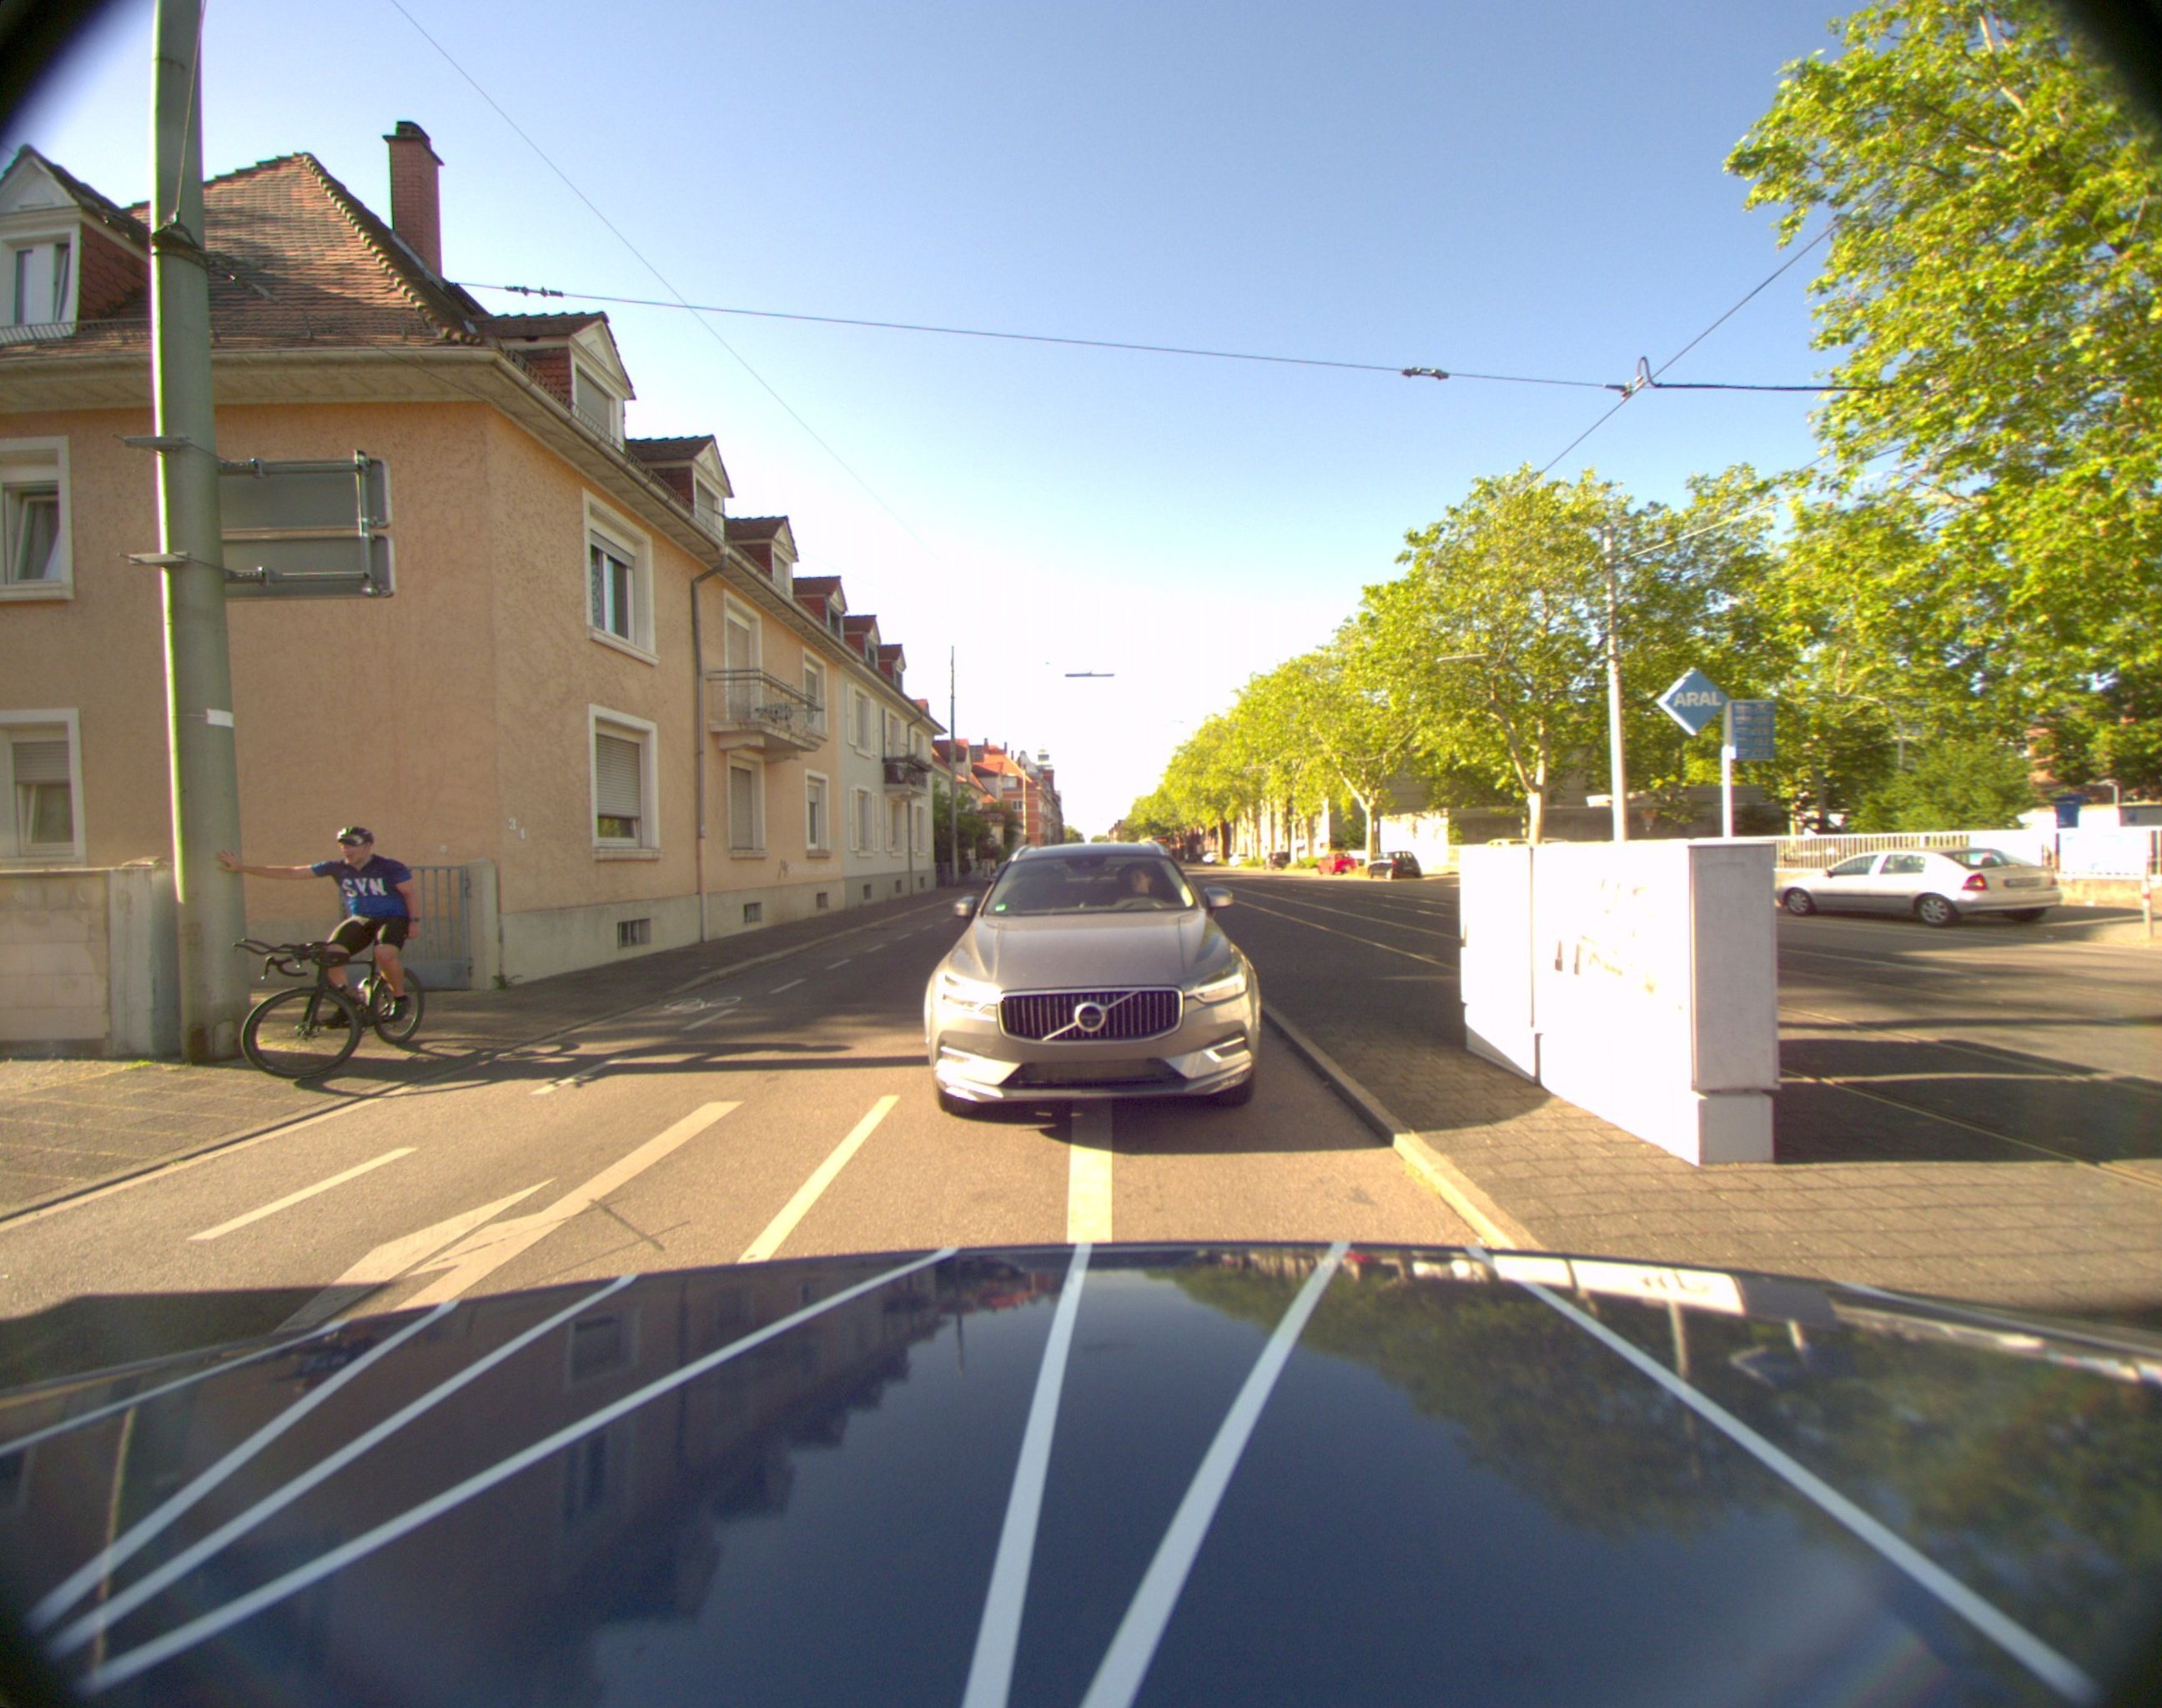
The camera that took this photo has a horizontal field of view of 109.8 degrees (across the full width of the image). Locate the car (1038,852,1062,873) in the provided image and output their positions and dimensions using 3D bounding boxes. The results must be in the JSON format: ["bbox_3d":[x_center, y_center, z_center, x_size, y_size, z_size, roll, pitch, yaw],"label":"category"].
[{"bbox_3d":[-2.667,0.695,65.773,1.847,1.681,4.000,-1,0,0],"label":"car"}]

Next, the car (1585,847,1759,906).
[{"bbox_3d":[16.521,0.569,21.552,1.845,1.400,4.138,-4,0,4],"label":"car"}]

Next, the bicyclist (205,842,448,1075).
[{"bbox_3d":[-6.169,0.802,6.276,1.071,1.728,0.853,4,1,1],"label":"bicyclist"}]

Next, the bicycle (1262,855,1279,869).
[{"bbox_3d":[15.686,0.677,62.928,0.654,1.114,2.532,-1,0,-2],"label":"bicycle"}]

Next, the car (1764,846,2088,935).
[{"bbox_3d":[16.239,0.618,14.980,1.846,1.400,3.999,-4,0,-1],"label":"car"}]

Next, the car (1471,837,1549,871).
[{"bbox_3d":[21.755,-0.025,38.717,1.845,1.524,4.001,-4,0,4],"label":"car"}]

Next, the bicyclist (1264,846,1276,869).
[{"bbox_3d":[15.670,0.269,62.969,0.720,1.853,1.071,-1,1,-2],"label":"bicyclist"}]

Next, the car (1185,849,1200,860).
[{"bbox_3d":[18.381,-0.003,125.413,1.845,1.664,4.098,-4,0,3],"label":"car"}]

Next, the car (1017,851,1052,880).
[{"bbox_3d":[-2.792,0.655,46.674,1.847,1.681,4.000,-1,0,0],"label":"car"}]

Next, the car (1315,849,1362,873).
[{"bbox_3d":[16.968,0.448,50.314,1.845,1.400,4.001,-4,0,3],"label":"car"}]

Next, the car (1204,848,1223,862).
[{"bbox_3d":[17.605,0.079,100.909,1.845,1.664,4.098,-4,0,3],"label":"car"}]

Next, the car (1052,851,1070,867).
[{"bbox_3d":[-2.234,0.551,85.488,1.999,1.641,4.658,-1,0,-1],"label":"car"}]

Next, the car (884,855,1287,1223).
[{"bbox_3d":[0.004,0.888,5.791,1.892,1.695,4.318,-1,0,-1],"label":"car"}]

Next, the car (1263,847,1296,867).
[{"bbox_3d":[17.176,0.227,65.898,1.845,1.607,4.098,-4,0,3],"label":"car"}]

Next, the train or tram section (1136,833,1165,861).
[{"bbox_3d":[9.118,-0.972,100.605,2.843,3.456,10.181,-2,1,0],"label":"train or tram section"}]

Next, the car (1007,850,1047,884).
[{"bbox_3d":[-2.959,0.686,42.264,1.847,1.742,4.144,-1,0,0],"label":"car"}]

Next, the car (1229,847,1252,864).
[{"bbox_3d":[17.499,0.121,83.546,1.845,1.664,4.098,-4,0,3],"label":"car"}]

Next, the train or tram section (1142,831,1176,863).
[{"bbox_3d":[9.159,-0.851,90.448,2.862,3.456,10.180,-2,1,-1],"label":"train or tram section"}]

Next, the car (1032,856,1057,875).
[{"bbox_3d":[-2.872,0.860,60.410,1.808,1.402,3.999,-1,0,-1],"label":"car"}]

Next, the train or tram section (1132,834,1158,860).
[{"bbox_3d":[9.247,-1.071,110.733,2.843,3.456,10.182,-2,1,1],"label":"train or tram section"}]

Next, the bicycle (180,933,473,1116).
[{"bbox_3d":[-5.926,1.275,6.131,0.594,1.045,1.719,4,1,1],"label":"bicycle"}]

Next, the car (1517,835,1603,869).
[{"bbox_3d":[24.049,-0.108,38.339,1.845,1.524,4.000,-4,0,2],"label":"car"}]

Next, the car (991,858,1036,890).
[{"bbox_3d":[-3.224,0.946,36.980,1.847,1.412,3.999,-1,0,-1],"label":"car"}]

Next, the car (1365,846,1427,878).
[{"bbox_3d":[16.972,0.410,41.089,1.845,1.524,4.001,-4,0,4],"label":"car"}]
